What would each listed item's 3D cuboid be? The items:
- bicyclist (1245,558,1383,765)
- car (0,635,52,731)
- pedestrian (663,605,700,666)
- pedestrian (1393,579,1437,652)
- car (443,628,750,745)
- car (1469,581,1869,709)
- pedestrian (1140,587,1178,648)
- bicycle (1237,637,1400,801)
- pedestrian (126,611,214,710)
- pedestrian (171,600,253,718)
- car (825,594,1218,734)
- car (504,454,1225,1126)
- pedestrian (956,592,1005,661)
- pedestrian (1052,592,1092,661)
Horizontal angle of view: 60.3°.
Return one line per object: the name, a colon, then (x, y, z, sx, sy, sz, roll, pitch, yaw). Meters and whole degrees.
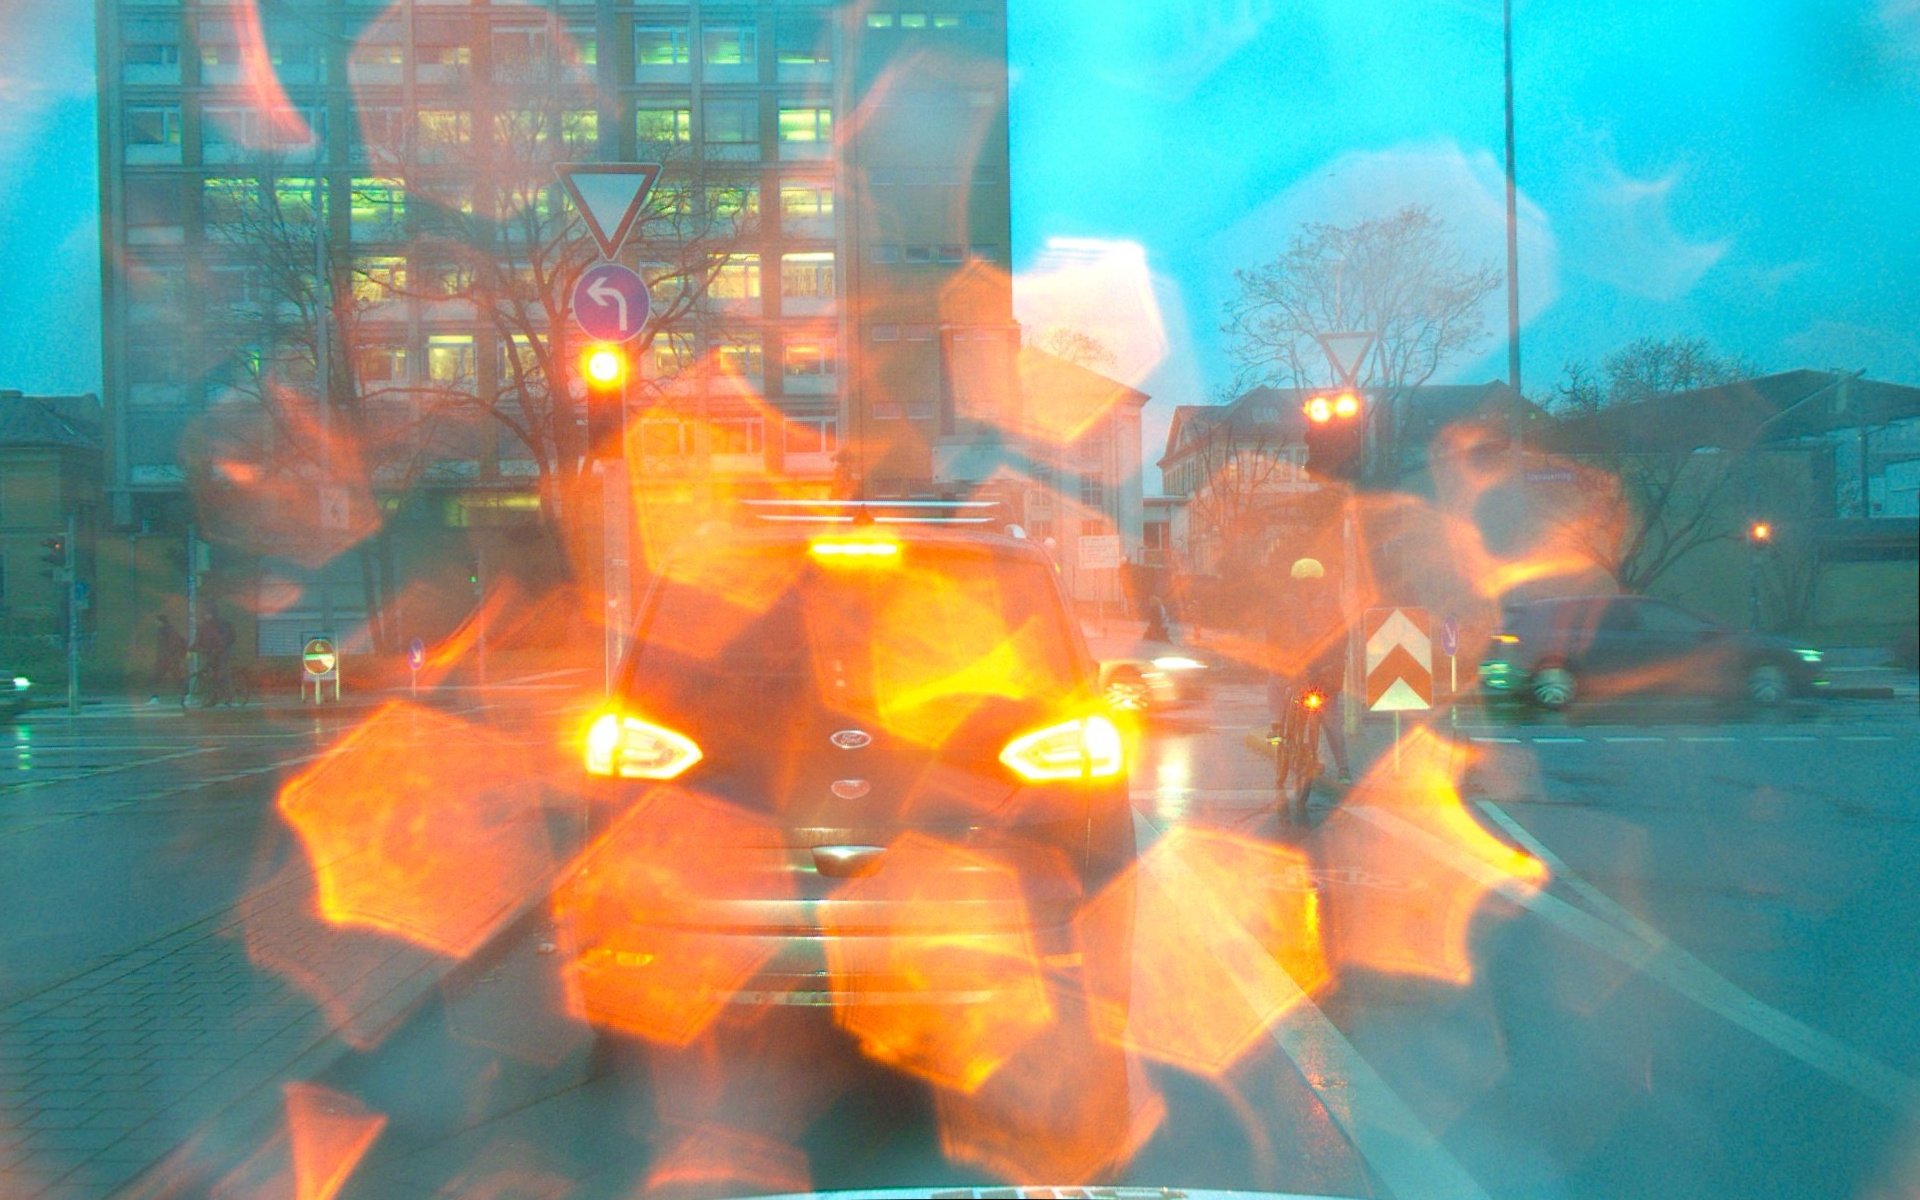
bicyclist: (2.650, 0.444, 12.473, 0.767, 1.478, 1.133, 1, 0, -1)
car: (-17.368, 1.398, 27.071, 4.559, 1.503, 1.812, -2, -1, 20)
pedestrian: (-7.788, 0.978, 46.247, 0.743, 1.656, 0.722, -2, 0, 16)
pedestrian: (13.719, 0.472, 49.842, 0.871, 2.150, 0.890, -2, 0, -22)
car: (-5.127, 1.214, 23.607, 3.871, 1.503, 1.812, -2, -1, 7)
car: (9.139, 0.590, 21.688, 4.480, 1.503, 1.813, -2, -1, 10)
pedestrian: (5.215, 0.448, 43.357, 0.905, 1.559, 1.043, -2, 0, 4)
bicycle: (2.658, 0.849, 12.467, 0.767, 1.094, 1.956, 1, 0, -1)
pedestrian: (-15.844, 1.200, 33.207, 0.980, 1.874, 1.140, -2, 2, 20)
pedestrian: (-13.270, 1.034, 29.373, 0.908, 2.013, 0.960, -2, 0, 5)
car: (0.794, 0.755, 19.900, 4.480, 1.503, 1.813, -2, -1, 10)
car: (-0.285, 0.533, 6.549, 1.953, 1.821, 3.999, 1, 0, -1)
pedestrian: (0.551, 0.695, 43.948, 1.111, 1.750, 0.982, -2, 0, 10)
pedestrian: (3.049, 0.719, 45.062, 0.975, 1.831, 0.920, -2, 0, 8)
